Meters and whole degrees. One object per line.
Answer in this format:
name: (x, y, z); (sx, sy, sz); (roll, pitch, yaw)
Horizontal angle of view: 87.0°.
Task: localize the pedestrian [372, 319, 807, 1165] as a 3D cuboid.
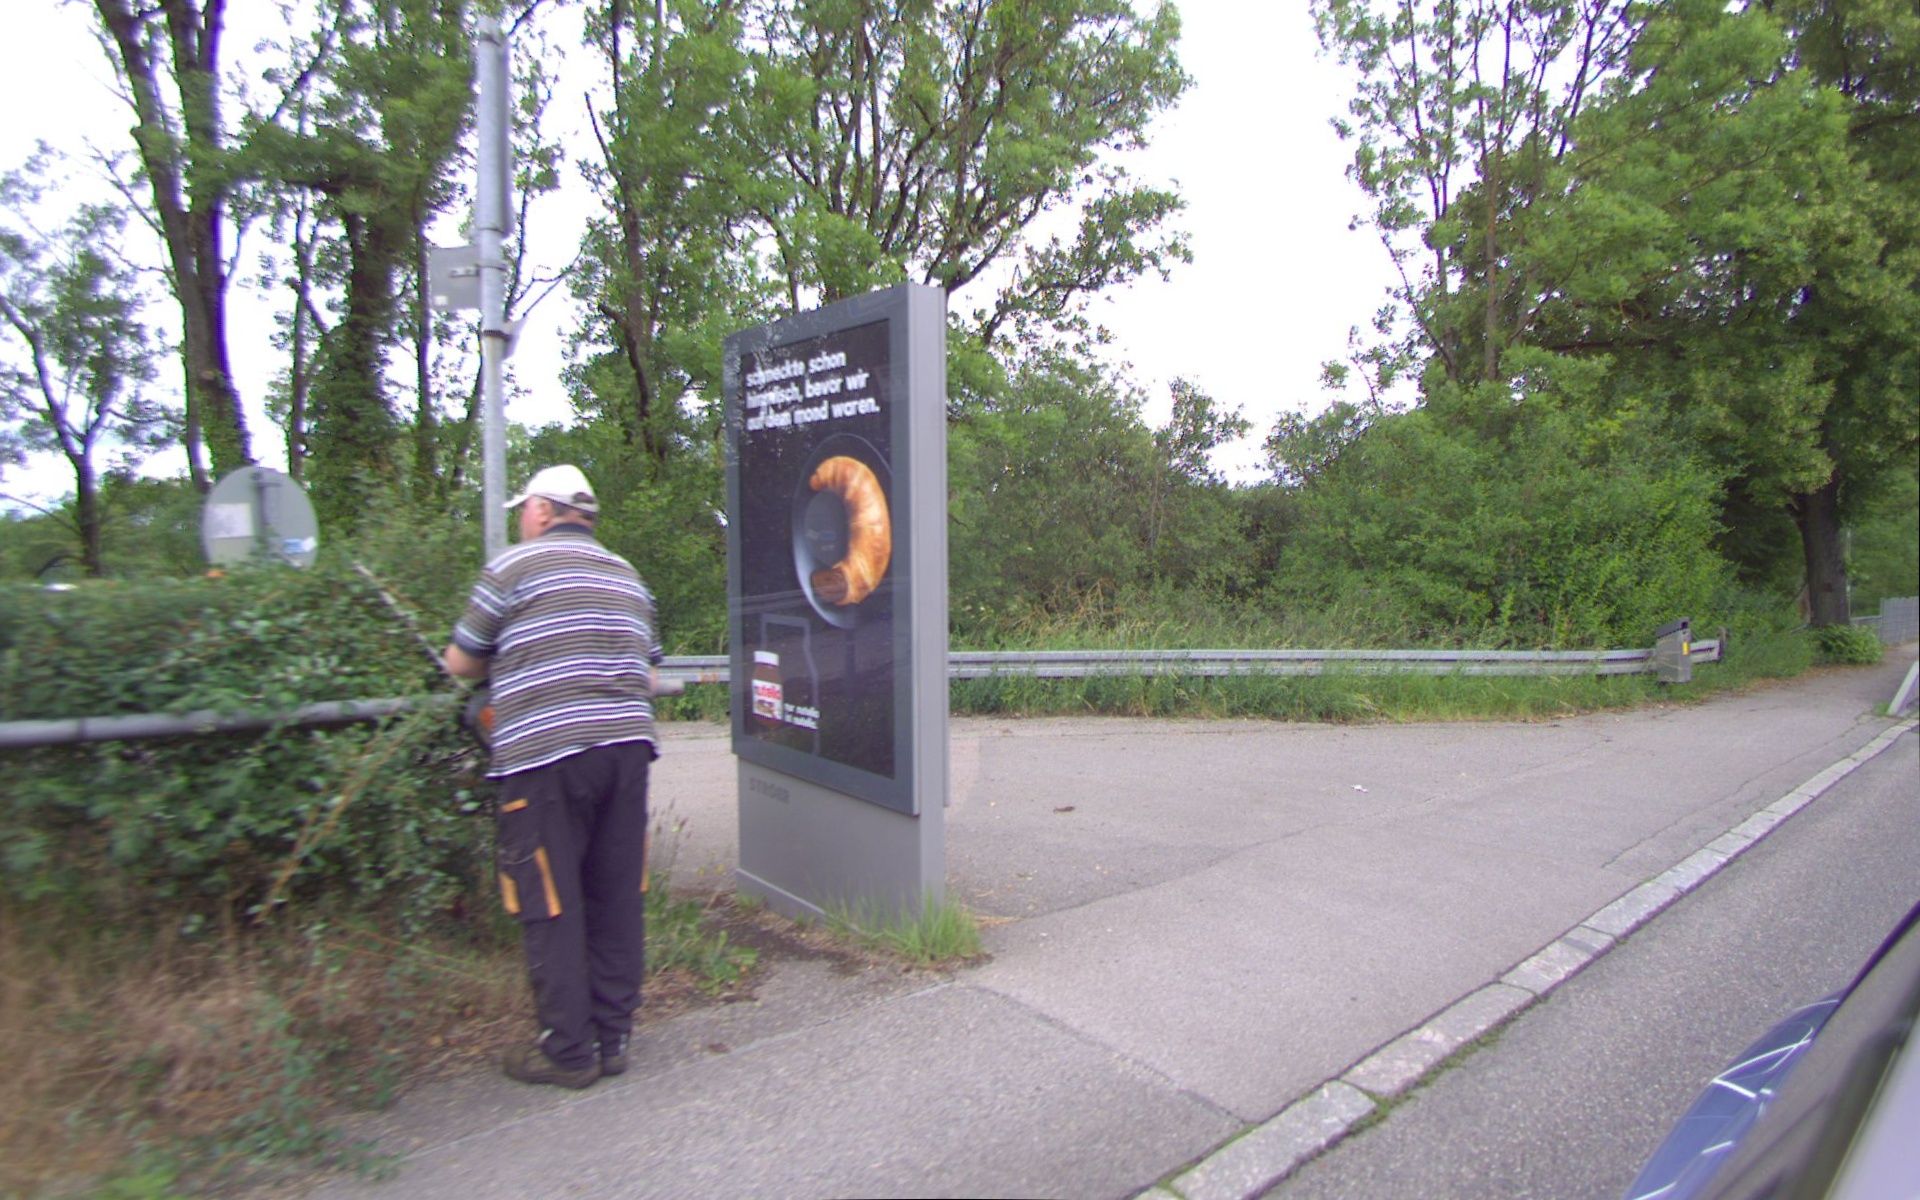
pedestrian: (-1.070, 0.307, 2.871); (0.931, 1.907, 0.815); (1, 3, -37)
